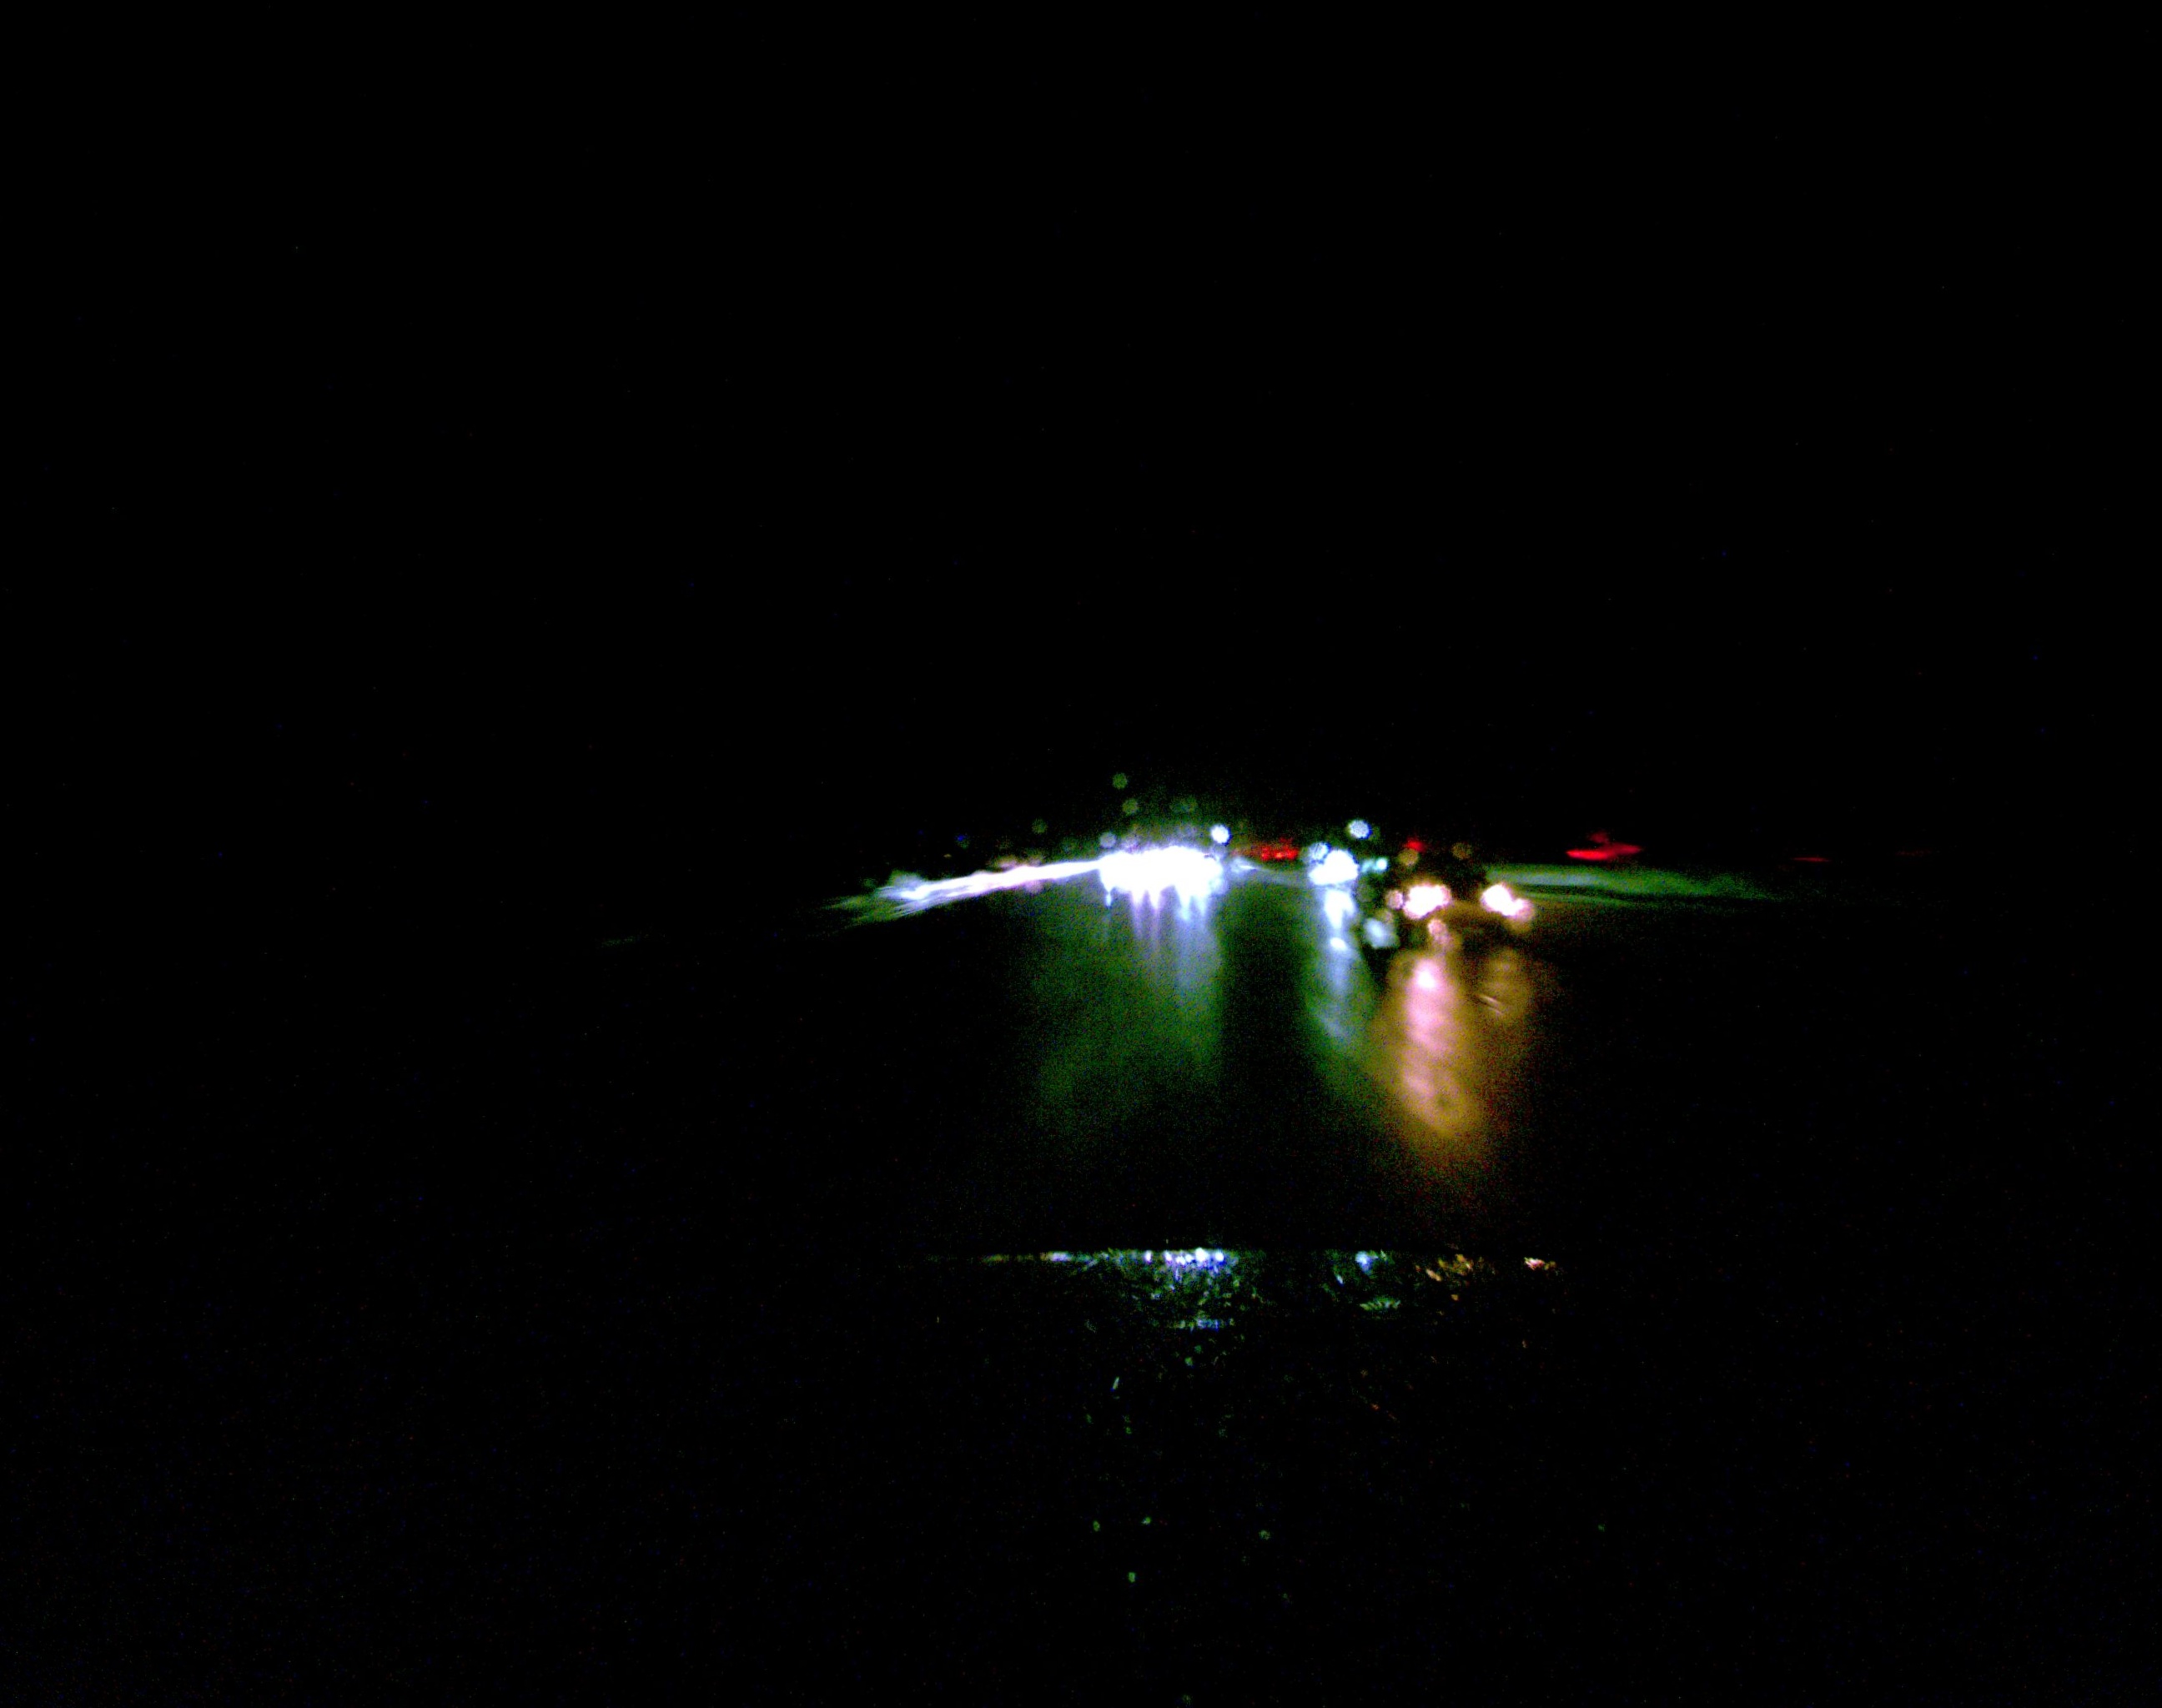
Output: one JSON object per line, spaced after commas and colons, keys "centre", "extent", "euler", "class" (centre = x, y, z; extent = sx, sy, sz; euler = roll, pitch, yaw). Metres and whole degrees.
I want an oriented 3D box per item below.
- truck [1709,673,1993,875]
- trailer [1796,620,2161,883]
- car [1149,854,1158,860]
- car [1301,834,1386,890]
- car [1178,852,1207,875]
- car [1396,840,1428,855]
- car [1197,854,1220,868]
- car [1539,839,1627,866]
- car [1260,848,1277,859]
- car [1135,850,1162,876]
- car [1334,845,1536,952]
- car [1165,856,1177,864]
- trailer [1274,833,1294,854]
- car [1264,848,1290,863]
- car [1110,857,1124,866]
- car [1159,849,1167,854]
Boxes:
{"centre": [27.155, -2.555, 27.357], "extent": [3.471, 6.092, 6.172], "euler": [-6, 0, 2], "class": "truck"}
{"centre": [26.893, -2.547, 19.427], "extent": [3.471, 6.092, 14.408], "euler": [-6, 0, 2], "class": "trailer"}
{"centre": [15.752, 0.652, 165.414], "extent": [1.998, 1.149, 4.001], "euler": [-3, 0, 5], "class": "car"}
{"centre": [10.535, 0.280, 30.855], "extent": [2.142, 2.002, 4.530], "euler": [-3, 0, 5], "class": "car"}
{"centre": [9.076, 0.734, 62.099], "extent": [1.998, 1.667, 4.001], "euler": [-3, 0, 4], "class": "car"}
{"centre": [34.870, -0.700, 80.133], "extent": [1.780, 1.462, 3.986], "euler": [-5, 0, 6], "class": "car"}
{"centre": [15.801, 0.873, 94.474], "extent": [2.310, 1.600, 3.871], "euler": [-3, 0, 2], "class": "car"}
{"centre": [23.776, -0.061, 36.130], "extent": [1.707, 1.148, 3.658], "euler": [-3, 0, -1], "class": "car"}
{"centre": [31.415, -0.079, 127.421], "extent": [1.998, 1.586, 5.022], "euler": [-5, 0, 5], "class": "car"}
{"centre": [5.526, 0.724, 62.484], "extent": [1.998, 2.002, 4.000], "euler": [-3, 0, 3], "class": "car"}
{"centre": [6.212, 0.682, 13.945], "extent": [1.920, 1.585, 4.234], "euler": [-3, 0, 4], "class": "car"}
{"centre": [14.142, 0.971, 119.455], "extent": [1.692, 1.149, 3.422], "euler": [-3, 0, 6], "class": "car"}
{"centre": [53.339, -2.780, 199.975], "extent": [3.271, 5.039, 13.977], "euler": [-3, 0, 8], "class": "trailer"}
{"centre": [23.412, 0.131, 90.907], "extent": [1.998, 1.586, 4.674], "euler": [-5, 0, 2], "class": "car"}
{"centre": [5.236, 1.095, 110.231], "extent": [1.998, 1.149, 4.001], "euler": [-3, 0, 3], "class": "car"}
{"centre": [22.828, -0.706, 212.506], "extent": [1.998, 1.379, 4.001], "euler": [-5, 0, 5], "class": "car"}
